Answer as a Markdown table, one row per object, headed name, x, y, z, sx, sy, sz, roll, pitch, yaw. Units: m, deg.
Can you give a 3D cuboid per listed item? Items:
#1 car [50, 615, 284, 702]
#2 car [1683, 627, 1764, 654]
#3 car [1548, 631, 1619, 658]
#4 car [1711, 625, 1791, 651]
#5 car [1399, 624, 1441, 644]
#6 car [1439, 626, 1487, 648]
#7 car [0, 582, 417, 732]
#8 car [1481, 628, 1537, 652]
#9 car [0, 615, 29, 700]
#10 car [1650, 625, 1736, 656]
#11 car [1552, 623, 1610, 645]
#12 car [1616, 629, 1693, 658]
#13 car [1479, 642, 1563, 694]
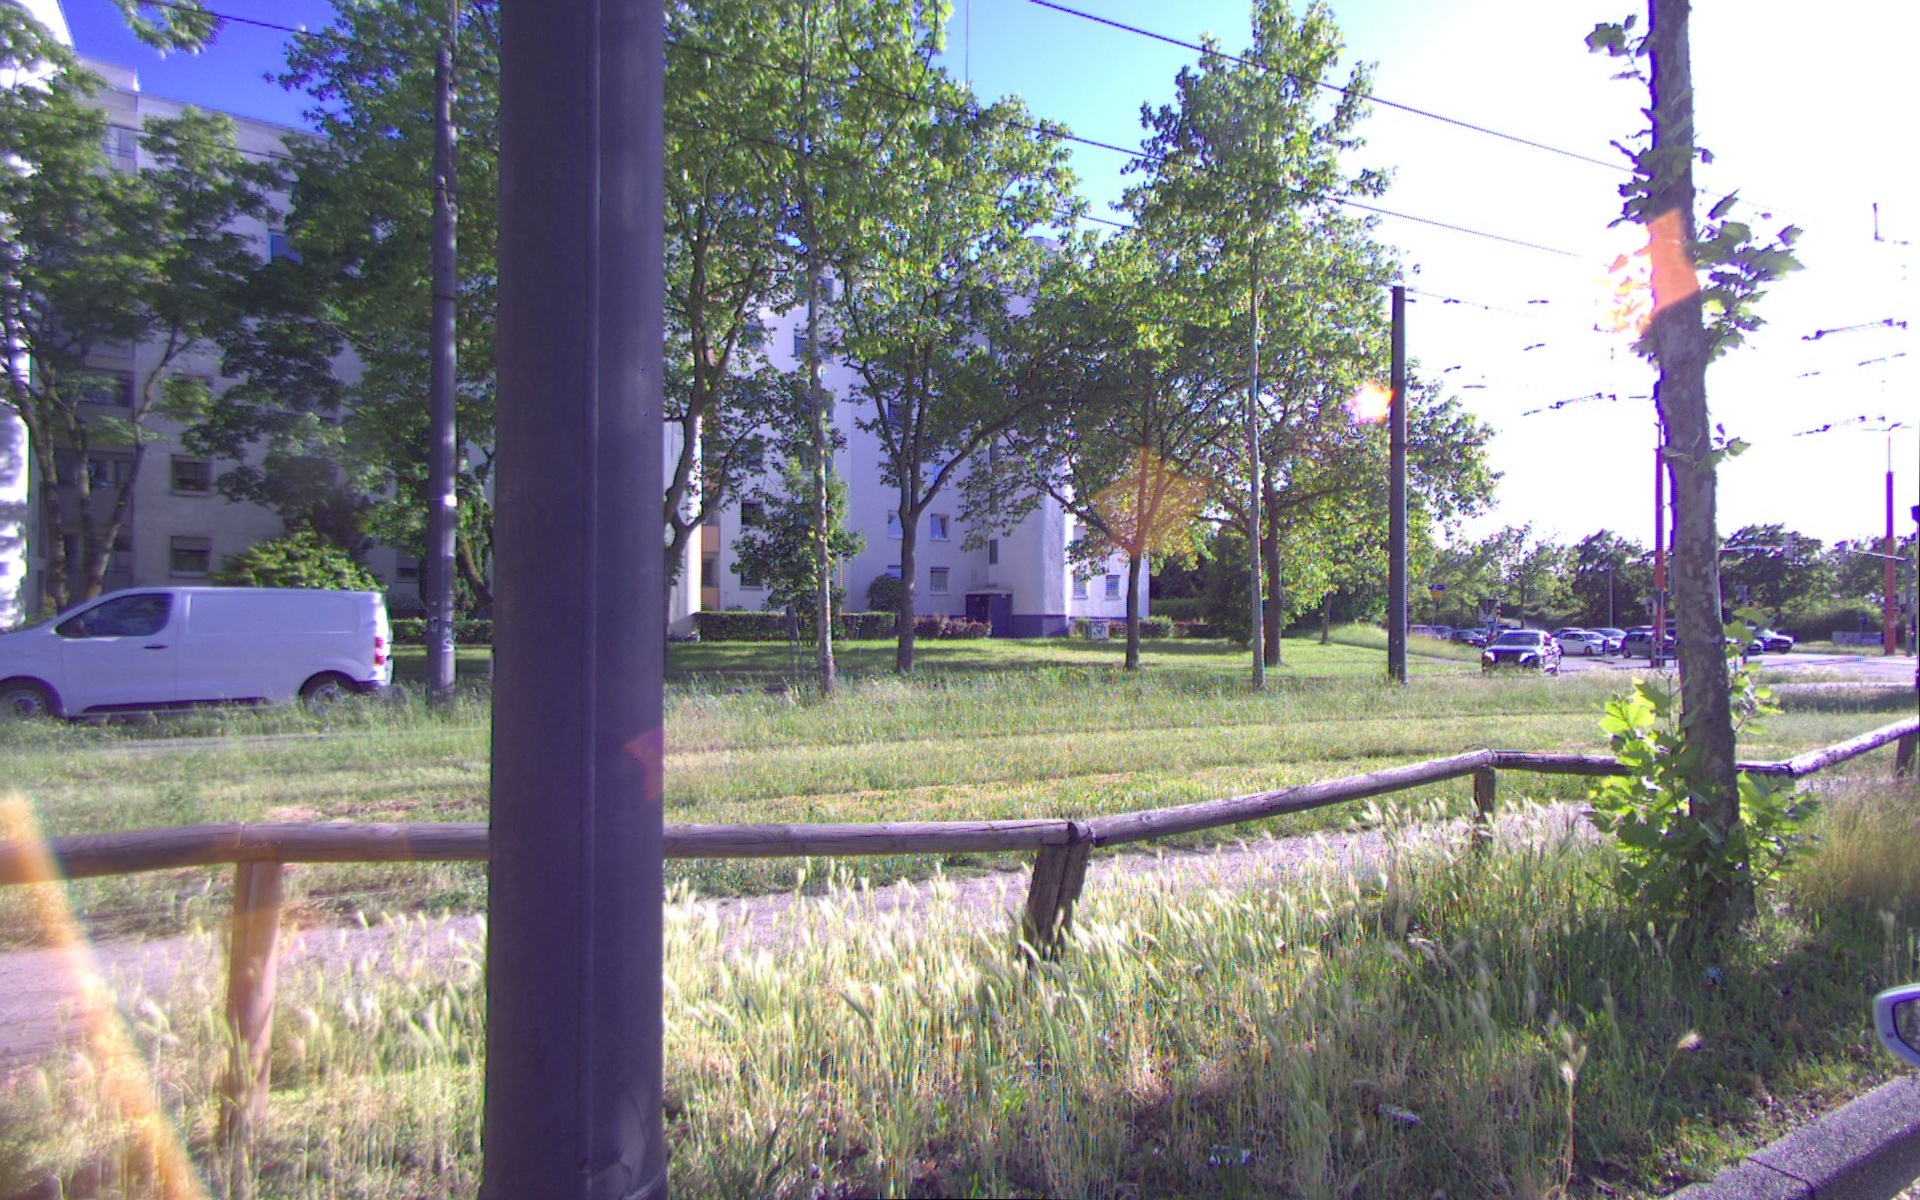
| name | x | y | z | sx | sy | sz | roll | pitch | yaw |
| --- | --- | --- | --- | --- | --- | --- | --- | --- | --- |
| car | -14.535 | 1.012 | 18.430 | 3.830 | 1.421 | 1.581 | 1 | 0 | 20 |
| car | 45.573 | 2.393 | 60.066 | 1.513 | 1.434 | 4.154 | 1 | -1 | -3 |
| car | 38.917 | 2.757 | 62.819 | 1.624 | 1.540 | 4.638 | 1 | -1 | 1 |
| car | 48.651 | 2.323 | 61.900 | 1.513 | 1.434 | 4.154 | 1 | -1 | -3 |
| car | 38.640 | 2.818 | 84.396 | 1.624 | 1.540 | 4.200 | 1 | -1 | 1 |
| car | 38.658 | 2.818 | 77.257 | 1.624 | 1.540 | 4.200 | 1 | -1 | 1 |
| car | -10.393 | 0.738 | 14.051 | 4.840 | 1.845 | 1.820 | 1 | 0 | -28 |
| car | 38.445 | 2.778 | 70.455 | 1.624 | 1.540 | 4.200 | 1 | -1 | 1 |
| car | -17.985 | 0.950 | 17.156 | 3.567 | 1.421 | 1.581 | 1 | 0 | 20 |
| car | 42.325 | 2.309 | 58.109 | 1.624 | 1.669 | 4.644 | 1 | -1 | 1 |
| car | 45.300 | 2.459 | 73.333 | 1.513 | 1.434 | 4.154 | 1 | -1 | -3 |
| car | 38.963 | 2.408 | 56.452 | 1.624 | 1.460 | 3.841 | 1 | -1 | -2 |
| car | 19.886 | 2.348 | 35.547 | 1.633 | 1.640 | 4.270 | 0 | -1 | 43 |
